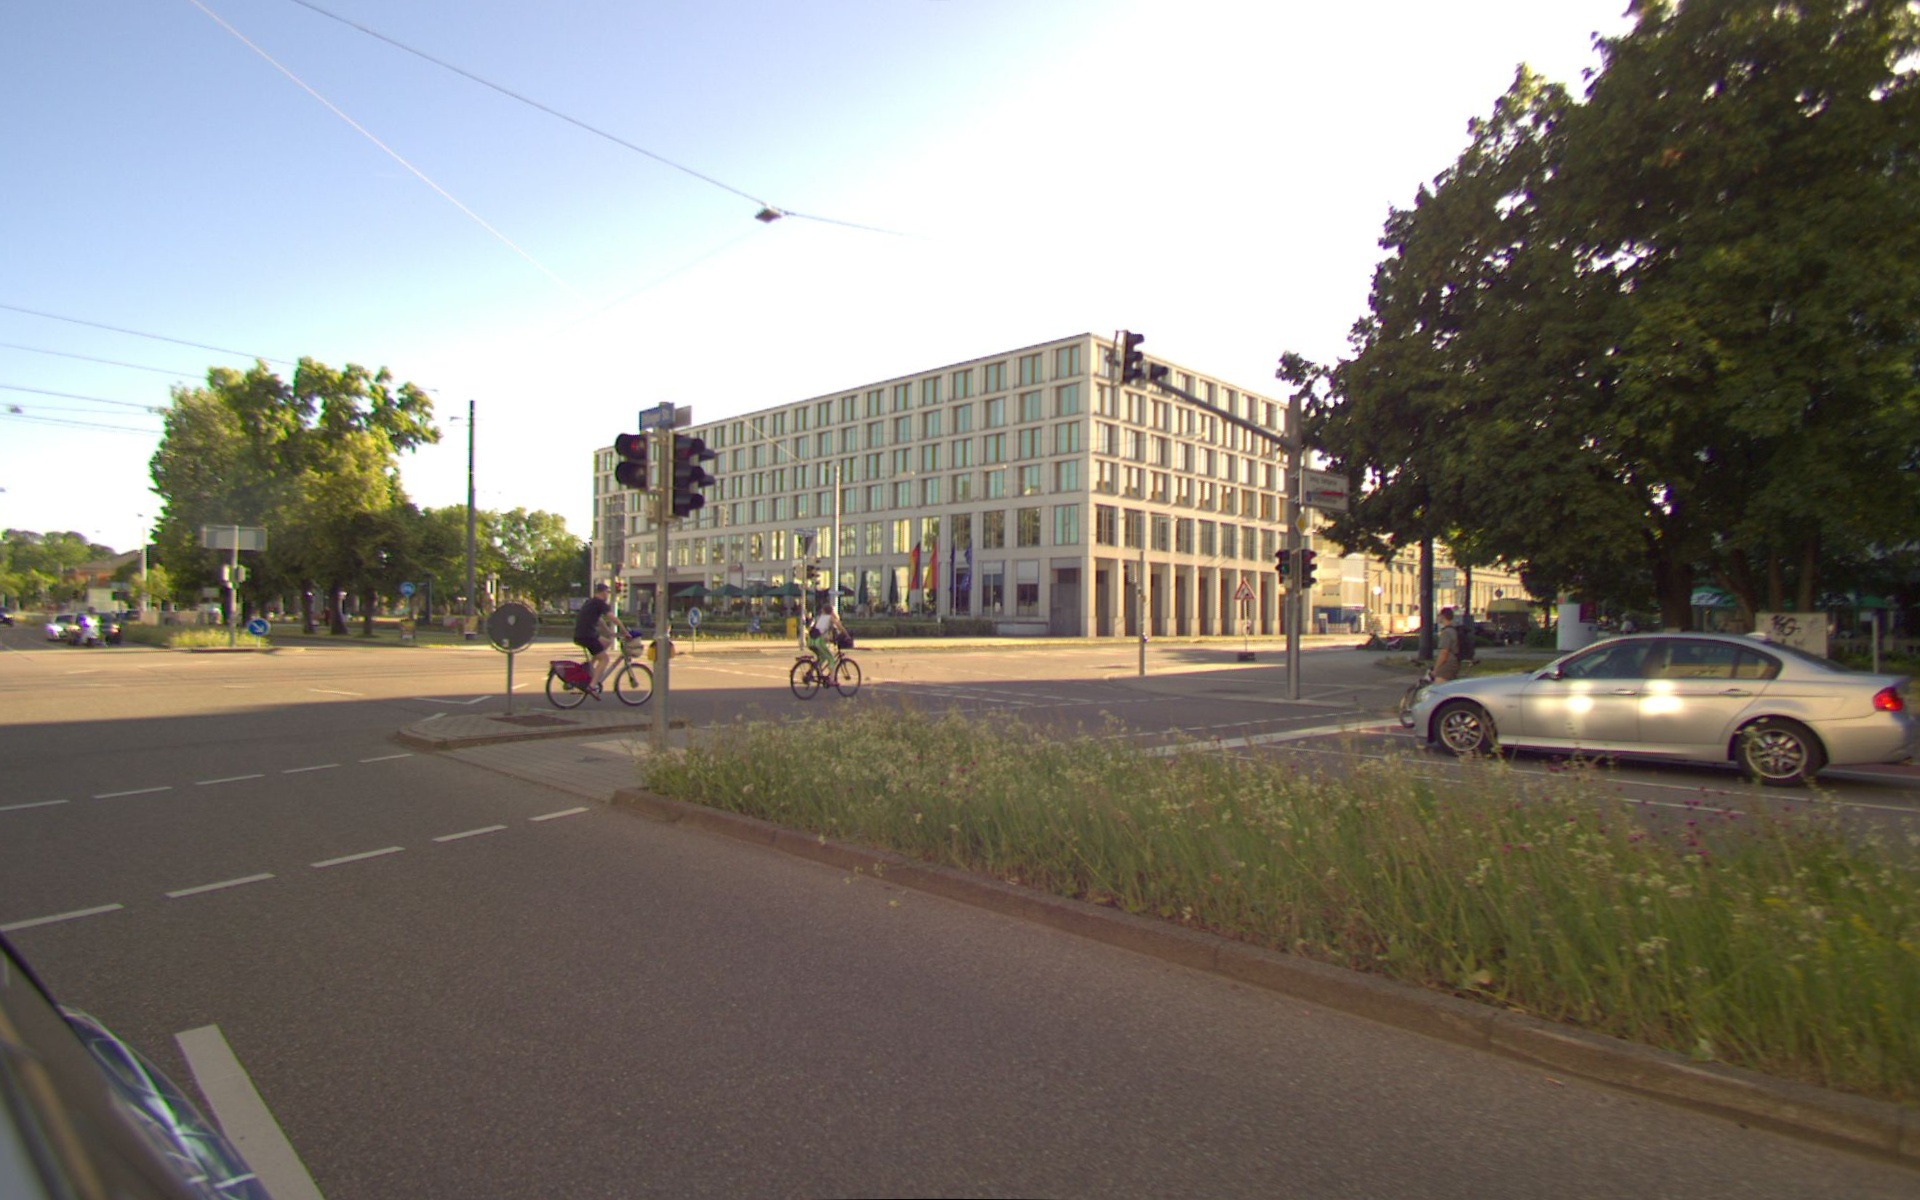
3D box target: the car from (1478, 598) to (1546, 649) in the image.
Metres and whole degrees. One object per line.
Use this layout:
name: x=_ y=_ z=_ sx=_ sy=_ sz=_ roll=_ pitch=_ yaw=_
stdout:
car: x=33.935 y=1.444 z=62.127 sx=2.599 sy=2.975 sz=5.018 roll=-1 pitch=-2 yaw=42

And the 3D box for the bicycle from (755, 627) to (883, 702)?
bicycle: x=-2.521 y=1.123 z=18.326 sx=0.778 sy=1.249 sz=2.278 roll=1 pitch=0 yaw=44

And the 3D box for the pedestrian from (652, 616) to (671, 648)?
pedestrian: x=-14.142 y=1.516 z=47.926 sx=0.603 sy=1.537 sz=0.615 roll=-1 pitch=-2 yaw=40

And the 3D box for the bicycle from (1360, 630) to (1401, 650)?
bicycle: x=19.109 y=1.814 z=45.986 sx=1.603 sy=0.896 sz=0.761 roll=-1 pitch=-2 yaw=37

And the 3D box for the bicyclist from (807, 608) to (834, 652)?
bicyclist: x=-5.224 y=1.112 z=37.913 sx=0.838 sy=1.631 sz=0.975 roll=1 pitch=-1 yaw=-16

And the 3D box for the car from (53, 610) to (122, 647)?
car: x=-38.943 y=1.253 z=45.133 sx=1.971 sy=1.585 sz=4.552 roll=2 pitch=-2 yaw=-45

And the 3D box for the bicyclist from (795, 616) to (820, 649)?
bicyclist: x=-6.591 y=1.394 z=43.656 sx=0.959 sy=1.372 sz=0.827 roll=0 pitch=-1 yaw=-1

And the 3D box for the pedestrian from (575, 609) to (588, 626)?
pedestrian: x=-33.498 y=1.534 z=89.587 sx=0.773 sy=1.537 sz=0.762 roll=2 pitch=-2 yaw=-45

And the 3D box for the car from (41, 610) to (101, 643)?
car: x=-44.964 y=1.341 z=51.174 sx=1.971 sy=1.585 sz=4.552 roll=2 pitch=-2 yaw=-45

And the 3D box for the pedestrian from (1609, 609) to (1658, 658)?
pedestrian: x=24.670 y=1.228 z=37.088 sx=0.879 sy=1.754 sz=1.219 roll=1 pitch=-2 yaw=-30

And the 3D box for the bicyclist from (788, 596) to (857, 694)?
bicyclist: x=-2.498 y=0.803 z=18.360 sx=0.776 sy=1.703 sz=0.912 roll=1 pitch=-1 yaw=44

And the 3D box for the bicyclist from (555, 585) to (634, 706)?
bicyclist: x=-5.496 y=0.668 z=15.235 sx=0.755 sy=1.756 sz=0.826 roll=1 pitch=-1 yaw=45

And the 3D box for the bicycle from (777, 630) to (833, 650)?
bicycle: x=-6.675 y=1.718 z=43.642 sx=2.302 sy=0.858 sz=0.843 roll=0 pitch=-1 yaw=-1

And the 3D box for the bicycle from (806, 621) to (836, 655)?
bicycle: x=-5.234 y=1.403 z=37.946 sx=0.832 sy=1.240 sz=2.020 roll=1 pitch=-1 yaw=-16

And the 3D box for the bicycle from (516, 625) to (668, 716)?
bicycle: x=-5.502 y=1.016 z=15.219 sx=0.778 sy=1.249 sz=1.991 roll=1 pitch=0 yaw=44

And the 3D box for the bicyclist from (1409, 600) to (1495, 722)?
bicyclist: x=7.146 y=0.871 z=14.702 sx=0.770 sy=1.692 sz=0.841 roll=2 pitch=-2 yaw=-31

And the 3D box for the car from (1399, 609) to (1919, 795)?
car: x=7.347 y=0.966 z=10.714 sx=1.971 sy=1.572 sz=4.552 roll=7 pitch=-5 yaw=-45

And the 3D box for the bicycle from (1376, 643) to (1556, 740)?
bicycle: x=7.212 y=1.256 z=14.567 sx=0.765 sy=1.249 sz=2.255 roll=2 pitch=-2 yaw=-30

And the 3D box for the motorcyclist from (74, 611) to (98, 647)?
motorcyclist: x=-35.203 y=1.166 z=40.771 sx=0.736 sy=1.457 sz=0.599 roll=-1 pitch=-2 yaw=41

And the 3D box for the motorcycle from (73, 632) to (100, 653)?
motorcycle: x=-35.089 y=1.702 z=40.651 sx=1.308 sy=0.801 sz=0.615 roll=-1 pitch=-2 yaw=40
